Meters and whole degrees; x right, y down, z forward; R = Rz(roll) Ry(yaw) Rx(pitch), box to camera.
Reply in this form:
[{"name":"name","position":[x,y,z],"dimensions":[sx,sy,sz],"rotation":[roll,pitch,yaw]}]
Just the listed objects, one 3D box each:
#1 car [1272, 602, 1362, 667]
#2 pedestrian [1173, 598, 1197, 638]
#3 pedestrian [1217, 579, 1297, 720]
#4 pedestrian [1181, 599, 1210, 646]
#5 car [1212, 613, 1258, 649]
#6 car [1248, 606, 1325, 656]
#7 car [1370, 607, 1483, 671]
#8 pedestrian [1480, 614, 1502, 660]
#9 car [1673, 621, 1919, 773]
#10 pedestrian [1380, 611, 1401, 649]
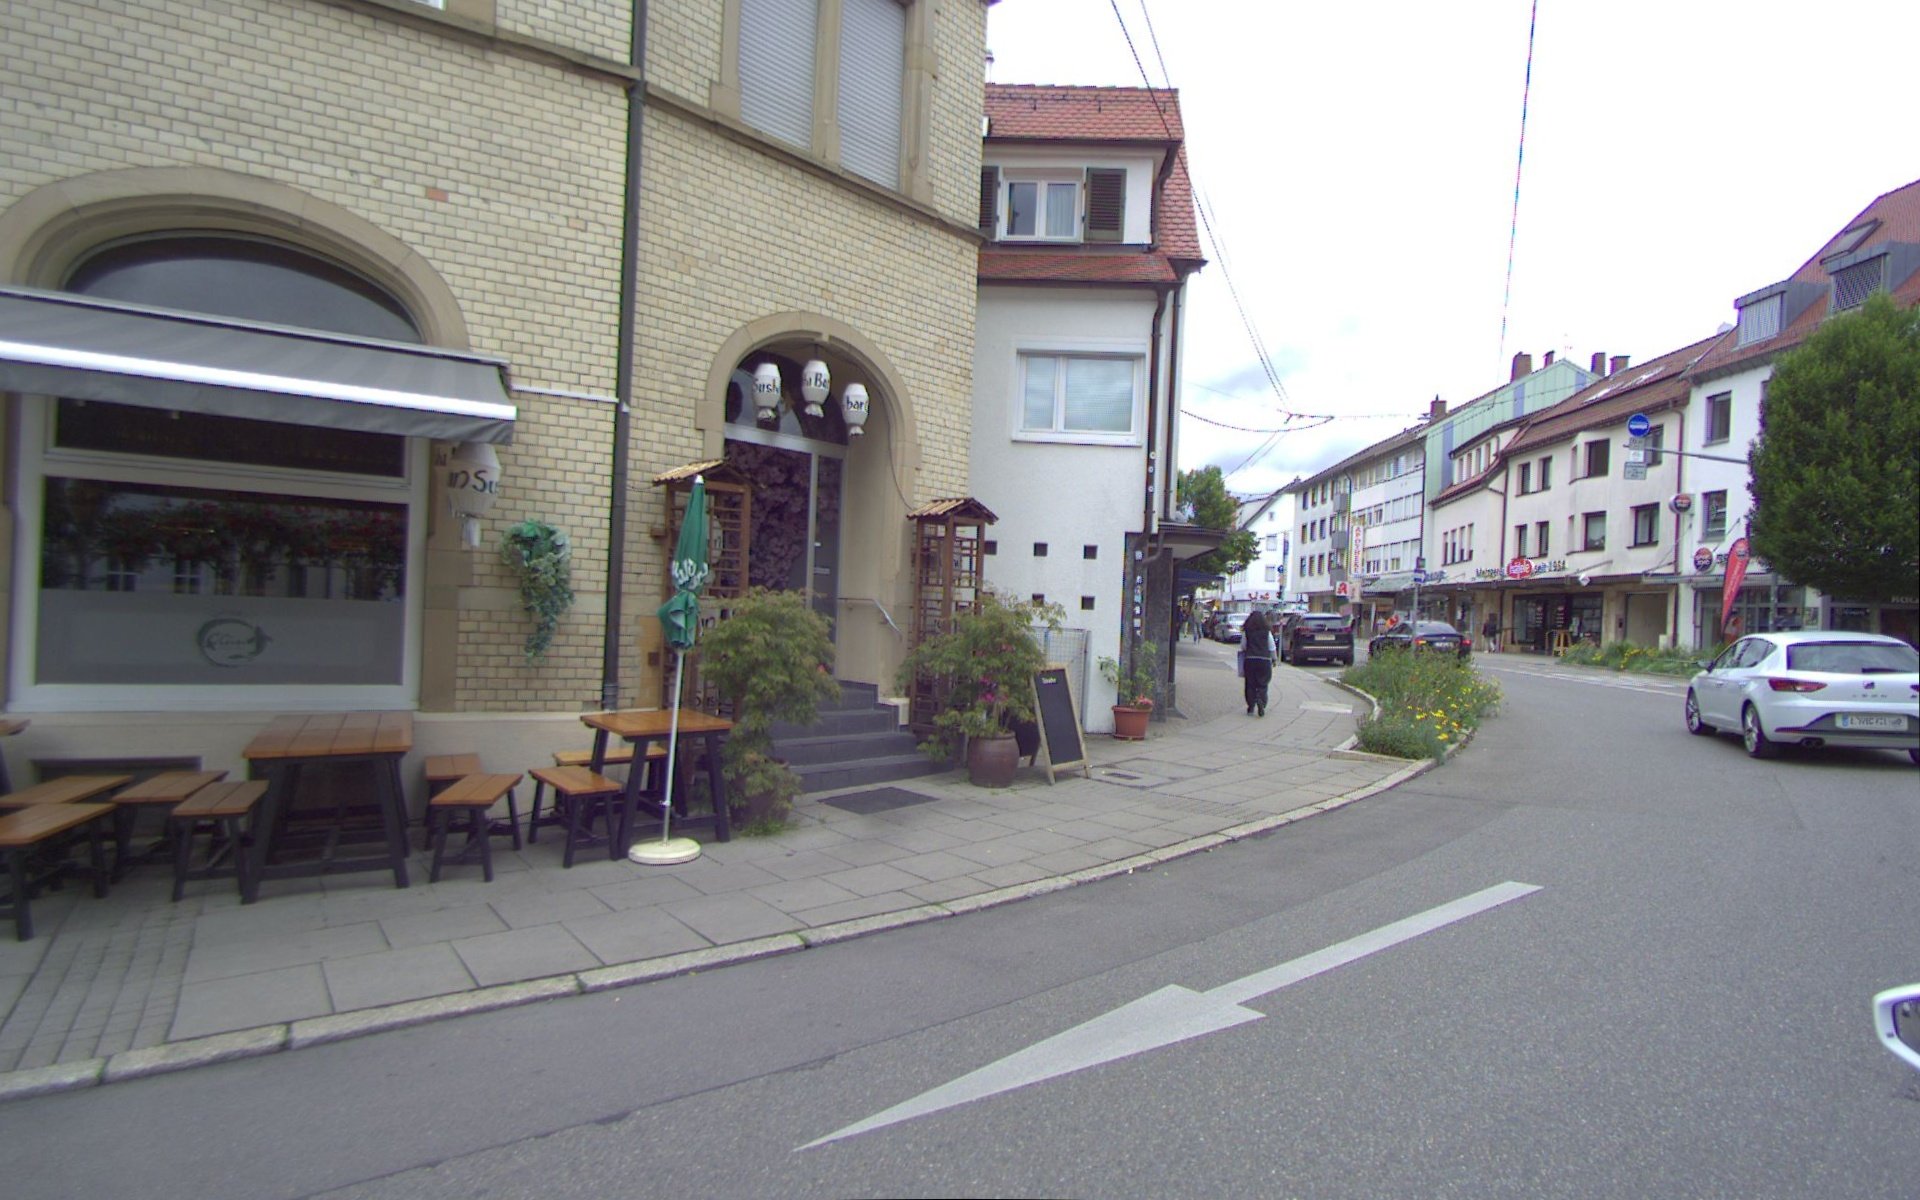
[{"name":"car","position":[11.281,1.057,32.001],"dimensions":[1.959,1.879,4.003],"rotation":[1,-1,9]},{"name":"pedestrian","position":[11.740,0.948,52.429],"dimensions":[1.084,2.040,1.014],"rotation":[1,0,4]},{"name":"pedestrian","position":[4.503,0.724,15.317],"dimensions":[1.084,2.040,1.014],"rotation":[1,0,14]},{"name":"pedestrian","position":[10.455,0.977,44.609],"dimensions":[1.084,2.040,1.014],"rotation":[1,0,7]},{"name":"car","position":[13.524,1.478,49.493],"dimensions":[1.545,1.644,4.002],"rotation":[1,0,7]},{"name":"car","position":[12.317,1.145,38.182],"dimensions":[1.959,1.755,4.430],"rotation":[1,-1,7]},{"name":"car","position":[14.054,1.110,30.515],"dimensions":[2.000,1.697,4.376],"rotation":[2,1,10]},{"name":"pedestrian","position":[23.939,1.659,45.283],"dimensions":[0.657,2.040,0.635],"rotation":[1,0,2]},{"name":"car","position":[10.335,1.047,12.374],"dimensions":[1.815,1.453,3.996],"rotation":[1,1,25]},{"name":"pedestrian","position":[23.692,1.648,55.265],"dimensions":[1.010,2.040,0.896],"rotation":[1,0,22]}]
